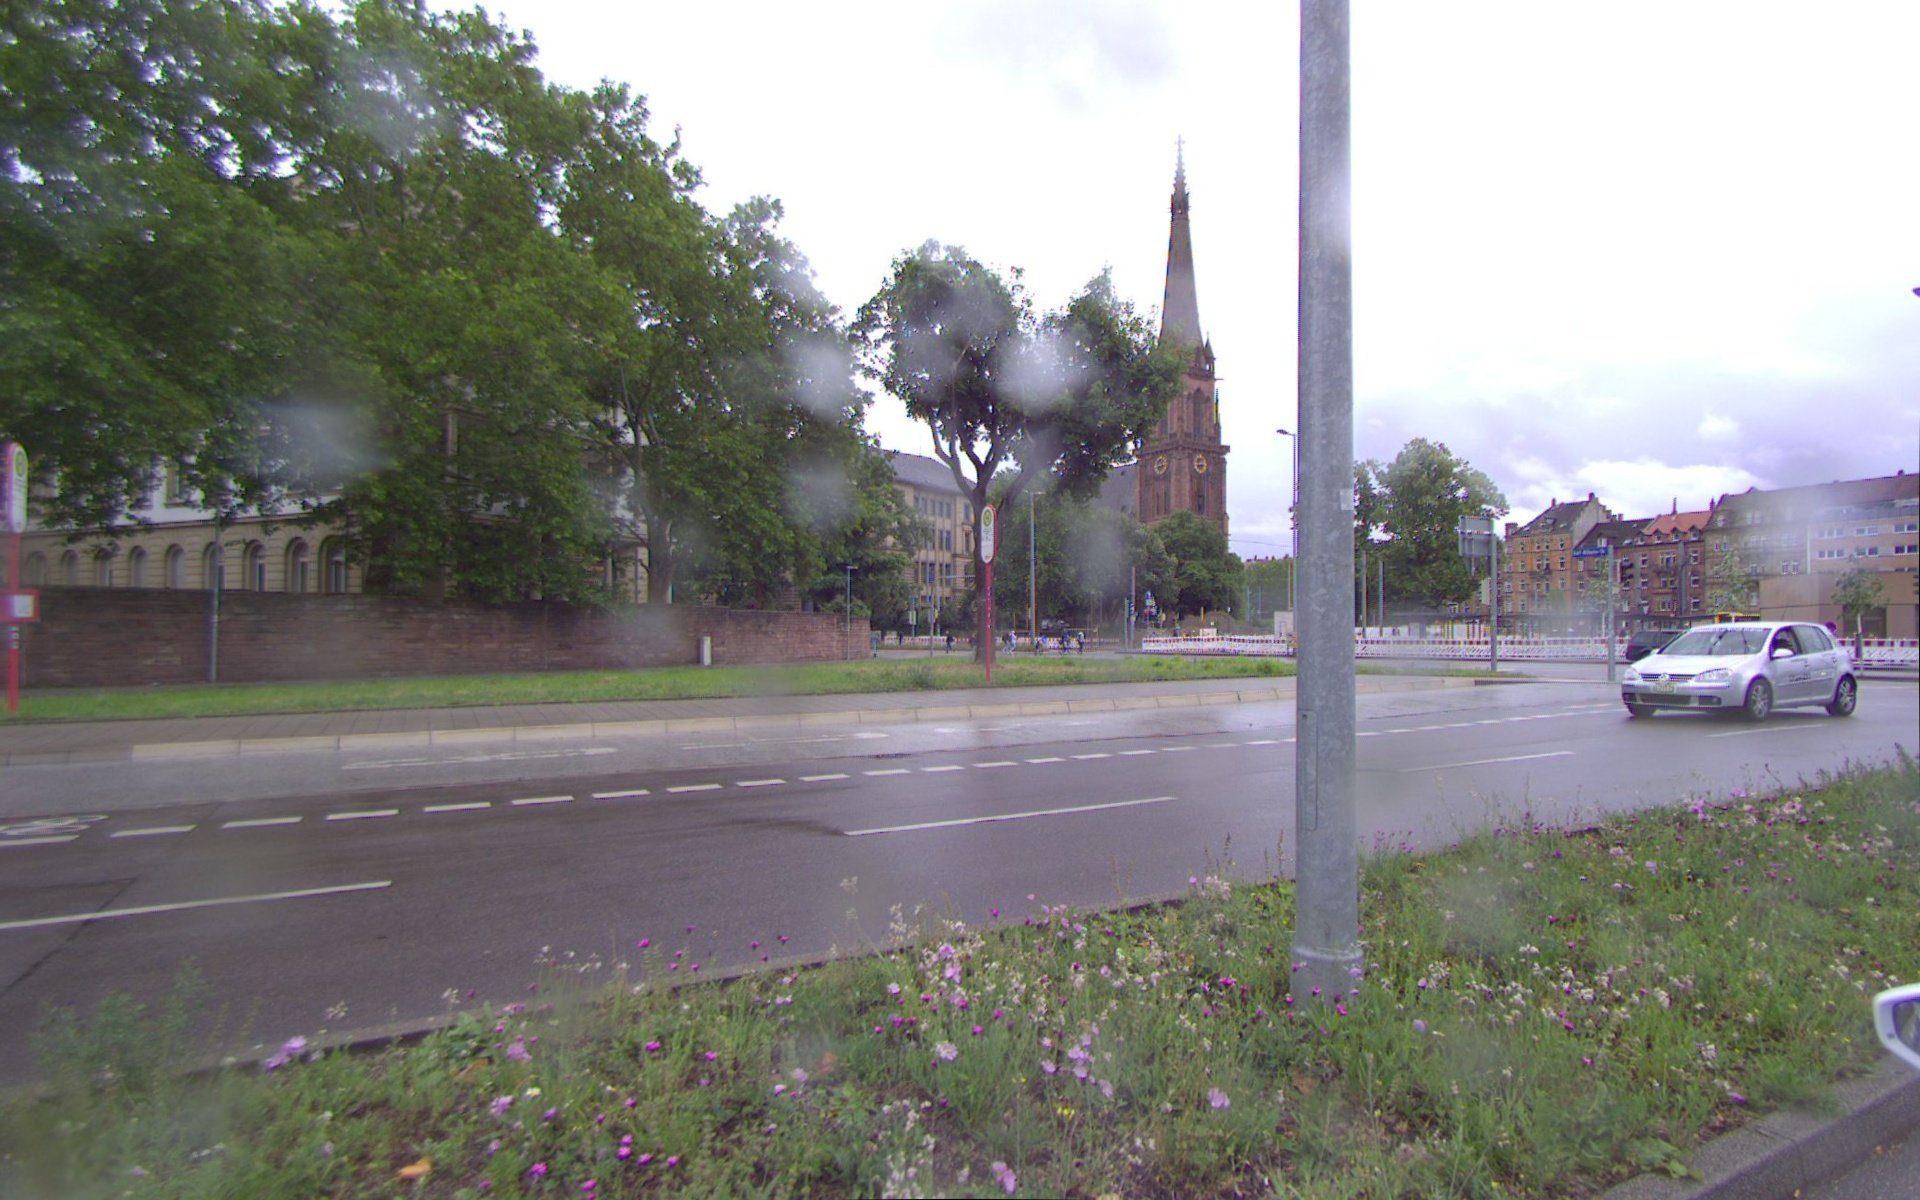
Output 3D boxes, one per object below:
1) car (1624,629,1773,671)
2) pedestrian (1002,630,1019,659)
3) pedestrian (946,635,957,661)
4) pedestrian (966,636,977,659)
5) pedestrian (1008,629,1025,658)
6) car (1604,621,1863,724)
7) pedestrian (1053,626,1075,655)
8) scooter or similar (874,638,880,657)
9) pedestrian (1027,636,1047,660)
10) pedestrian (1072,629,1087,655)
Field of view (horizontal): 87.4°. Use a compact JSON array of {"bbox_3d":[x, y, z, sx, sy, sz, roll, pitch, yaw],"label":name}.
[{"bbox_3d":[27.173,1.800,37.104,1.600,1.421,4.169,1,-2,-32],"label":"car"},{"bbox_3d":[3.666,3.233,72.821,0.944,2.040,0.853,1,-1,-26],"label":"pedestrian"},{"bbox_3d":[-0.661,3.570,74.582,0.596,1.915,0.601,1,-1,-32],"label":"pedestrian"},{"bbox_3d":[0.761,3.174,66.866,0.661,1.520,0.775,0,-1,3],"label":"pedestrian"},{"bbox_3d":[4.042,3.115,72.004,0.944,2.040,0.853,1,-1,-26],"label":"pedestrian"},{"bbox_3d":[12.121,1.071,15.695,4.106,1.423,1.673,1,-2,-28],"label":"car"},{"bbox_3d":[7.386,2.872,71.363,0.982,2.040,1.304,-1,-1,37],"label":"pedestrian"},{"bbox_3d":[-4.982,2.858,60.277,0.273,1.096,1.078,0,-1,-1],"label":"scooter or similar"},{"bbox_3d":[5.239,3.262,68.349,0.918,1.560,1.056,-1,-1,37],"label":"pedestrian"},{"bbox_3d":[8.173,2.862,68.825,0.764,1.801,0.721,1,-1,-26],"label":"pedestrian"}]
